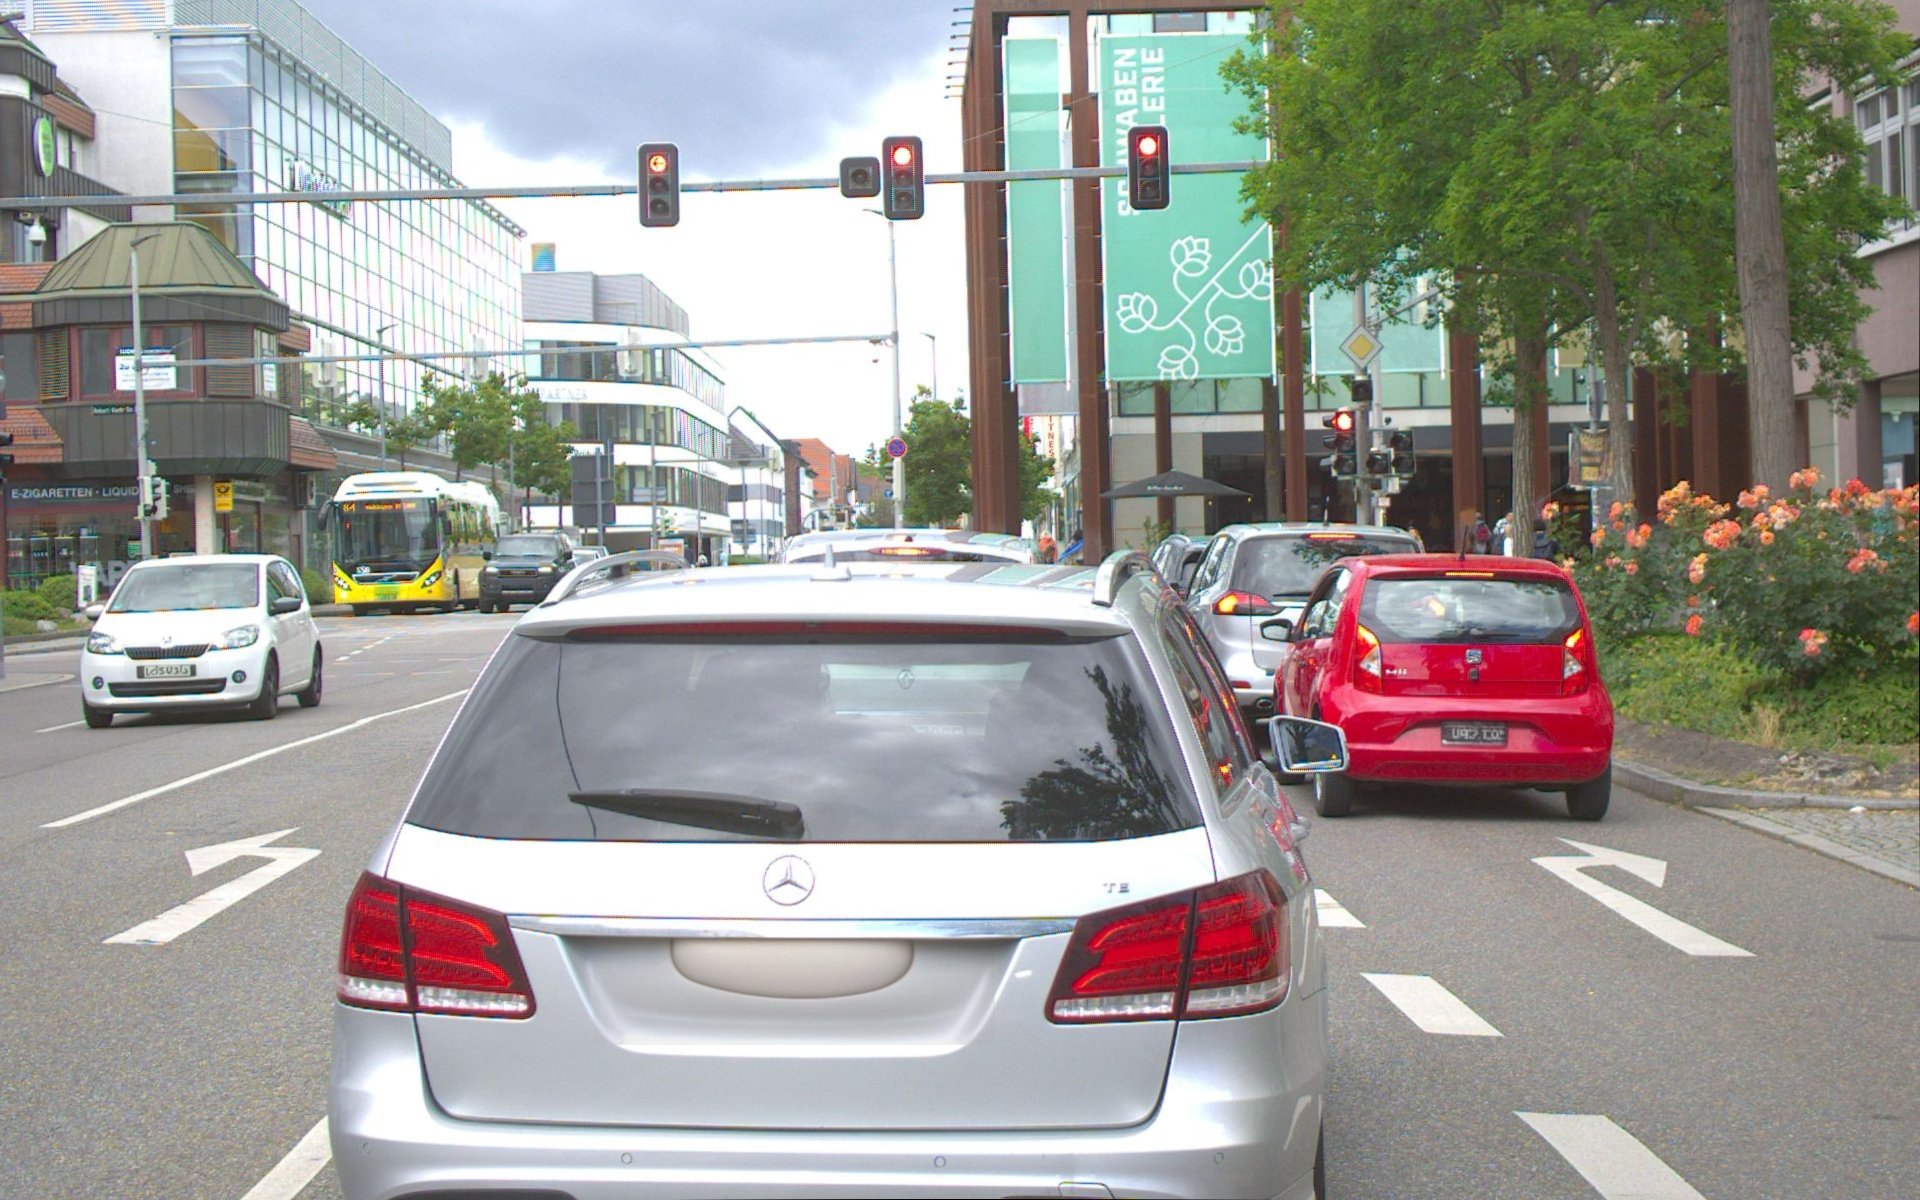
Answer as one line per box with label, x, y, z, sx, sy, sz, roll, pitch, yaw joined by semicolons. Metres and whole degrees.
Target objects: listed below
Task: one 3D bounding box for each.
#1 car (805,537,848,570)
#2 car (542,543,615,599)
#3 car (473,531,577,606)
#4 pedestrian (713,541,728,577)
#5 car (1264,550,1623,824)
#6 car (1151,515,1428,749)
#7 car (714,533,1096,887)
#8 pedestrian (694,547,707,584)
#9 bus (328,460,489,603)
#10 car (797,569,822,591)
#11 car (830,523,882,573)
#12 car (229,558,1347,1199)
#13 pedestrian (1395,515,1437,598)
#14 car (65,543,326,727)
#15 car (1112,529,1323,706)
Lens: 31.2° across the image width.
car;-6.405;-2.242;165.674;1.801;1.535;4.065;-1;1;1
car;-9.774;-0.756;88.271;1.555;1.387;3.288;-1;1;-1
car;-10.169;-0.763;80.644;1.993;1.700;4.065;-1;1;-1
pedestrian;-11.433;-1.946;164.100;0.520;1.728;0.488;-1;1;24
car;2.744;0.442;20.135;1.586;1.438;3.348;1;1;0
car;2.432;0.192;26.189;1.586;1.628;3.917;1;1;-2
car;-0.255;0.443;16.489;1.640;1.522;3.394;0;1;-1
pedestrian;-12.349;-1.639;163.630;0.519;1.728;0.489;-1;1;8
bus;-13.267;-1.658;83.390;2.686;3.250;8.654;-1;1;-1
car;-11.063;-1.498;252.392;1.800;1.535;4.065;-1;1;-3
car;-4.145;-2.071;137.042;1.993;1.942;4.951;-1;1;-1
car;-0.063;0.641;7.736;1.815;1.443;4.368;1;1;6
pedestrian;9.109;-0.869;68.699;0.651;1.645;0.559;-1;1;-15
car;-6.771;0.267;30.746;1.574;1.483;3.464;-2;1;-1
car;2.422;0.122;33.077;1.586;1.589;3.868;1;1;-2
